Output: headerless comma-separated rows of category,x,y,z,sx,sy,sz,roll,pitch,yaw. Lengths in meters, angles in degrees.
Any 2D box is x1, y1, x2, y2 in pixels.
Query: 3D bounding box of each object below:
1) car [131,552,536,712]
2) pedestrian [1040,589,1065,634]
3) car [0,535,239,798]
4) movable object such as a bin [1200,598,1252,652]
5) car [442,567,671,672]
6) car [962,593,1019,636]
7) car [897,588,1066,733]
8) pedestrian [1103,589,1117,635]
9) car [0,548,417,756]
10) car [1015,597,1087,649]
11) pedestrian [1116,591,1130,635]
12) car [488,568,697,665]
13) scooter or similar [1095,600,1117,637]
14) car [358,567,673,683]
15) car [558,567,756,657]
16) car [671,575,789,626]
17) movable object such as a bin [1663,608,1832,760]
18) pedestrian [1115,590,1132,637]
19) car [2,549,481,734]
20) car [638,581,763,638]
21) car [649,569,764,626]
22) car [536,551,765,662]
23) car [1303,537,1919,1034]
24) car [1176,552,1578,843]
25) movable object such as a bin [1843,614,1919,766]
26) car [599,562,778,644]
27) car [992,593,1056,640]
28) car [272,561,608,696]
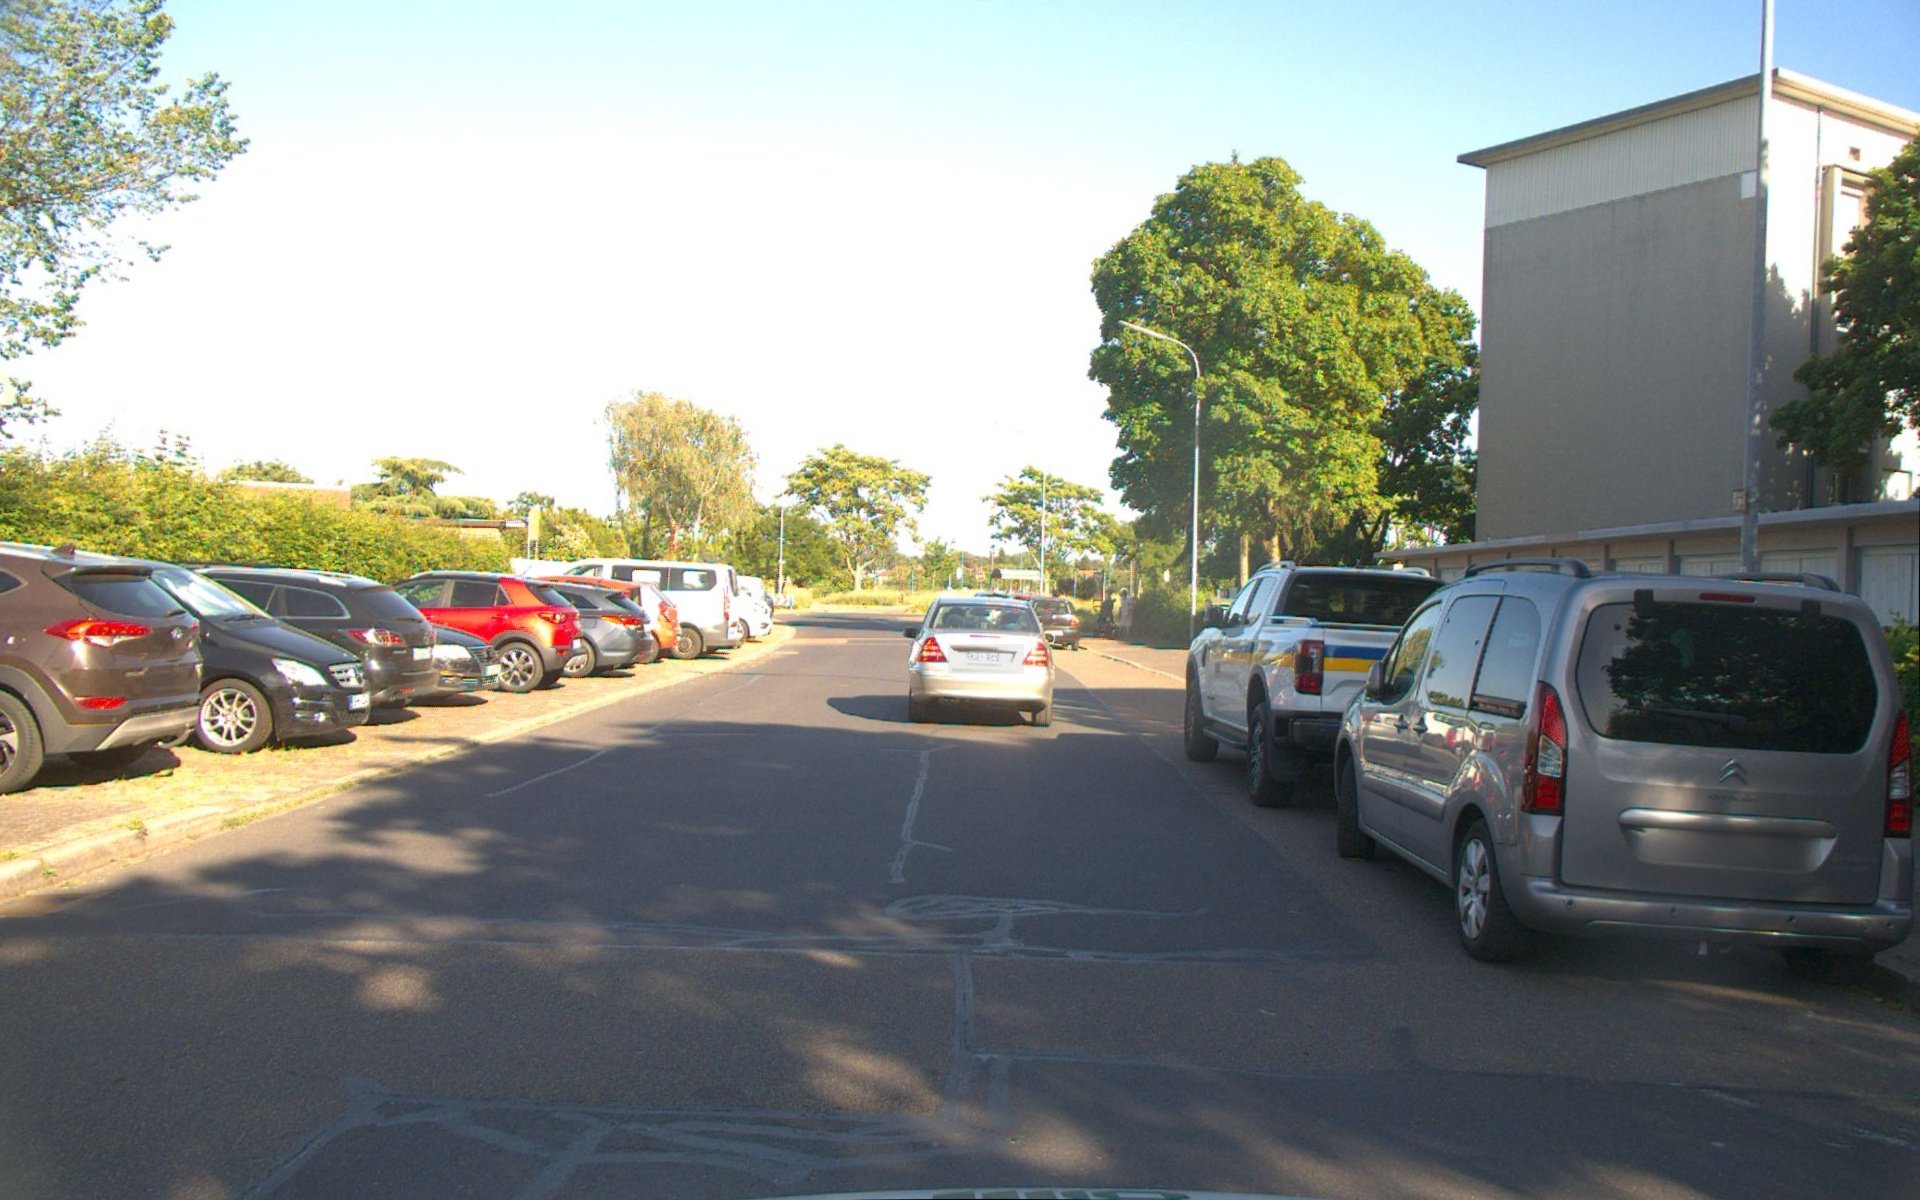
car,-7.228,0.368,19.412,3.938,1.539,1.905,4,-1,-2
pedestrian,3.429,0.430,61.606,0.772,1.592,0.569,3,-1,-5
car,-7.630,0.341,11.742,4.103,1.685,1.845,4,-1,-3
movable object such as a bin,7.322,0.687,45.630,1.213,1.428,0.914,2,-1,-3
car,-7.105,0.322,29.397,3.529,1.594,1.881,4,1,-1
car,1.186,0.549,65.179,1.698,1.570,3.783,2,0,-7
car,0.230,0.640,20.184,1.779,1.488,4.360,3,0,0
pedestrian,5.207,0.407,57.282,0.471,1.592,0.597,0,-1,5
car,-7.118,0.410,14.692,3.907,1.559,1.831,4,-1,-2
car,2.599,0.657,47.874,1.614,1.427,3.879,1,0,-4
pedestrian,5.693,0.470,57.740,0.354,1.529,0.500,0,-1,-7
car,-7.033,0.298,31.903,3.529,1.594,1.852,4,1,-1
scooter or similar,4.957,0.619,56.123,0.610,1.249,0.904,1,-1,-5
car,-6.994,0.375,26.349,4.452,1.505,1.747,4,1,-1
car,-6.815,0.269,37.530,4.067,1.735,1.883,4,-1,-1
car,-9.688,0.020,69.675,4.782,1.949,1.996,2,0,-10
movable object such as a bin,7.535,0.786,15.894,1.223,1.371,1.054,1,-1,11
pedestrian,5.548,0.446,56.131,0.476,1.592,0.468,0,-1,-9
car,-7.193,0.409,16.892,4.011,1.539,1.811,4,-1,-2
car,-7.726,0.286,49.405,3.444,1.471,1.636,4,-1,-3
car,-9.031,-0.094,59.102,3.903,1.811,1.922,3,0,-8
car,-6.472,0.153,35.027,4.389,2.011,1.999,4,-1,-2
car,3.247,0.683,8.590,1.796,1.822,4.554,3,1,-1
car,3.189,0.625,13.912,1.868,1.872,5.273,3,1,-1
movable object such as a bin,9.097,0.840,15.448,1.223,1.371,1.054,1,-1,11
car,-7.594,0.086,46.672,4.695,1.954,2.080,4,-1,-4
car,2.104,0.552,55.548,1.545,1.471,3.783,2,0,-7
car,-6.968,0.363,22.453,3.906,1.505,1.791,4,1,-1
